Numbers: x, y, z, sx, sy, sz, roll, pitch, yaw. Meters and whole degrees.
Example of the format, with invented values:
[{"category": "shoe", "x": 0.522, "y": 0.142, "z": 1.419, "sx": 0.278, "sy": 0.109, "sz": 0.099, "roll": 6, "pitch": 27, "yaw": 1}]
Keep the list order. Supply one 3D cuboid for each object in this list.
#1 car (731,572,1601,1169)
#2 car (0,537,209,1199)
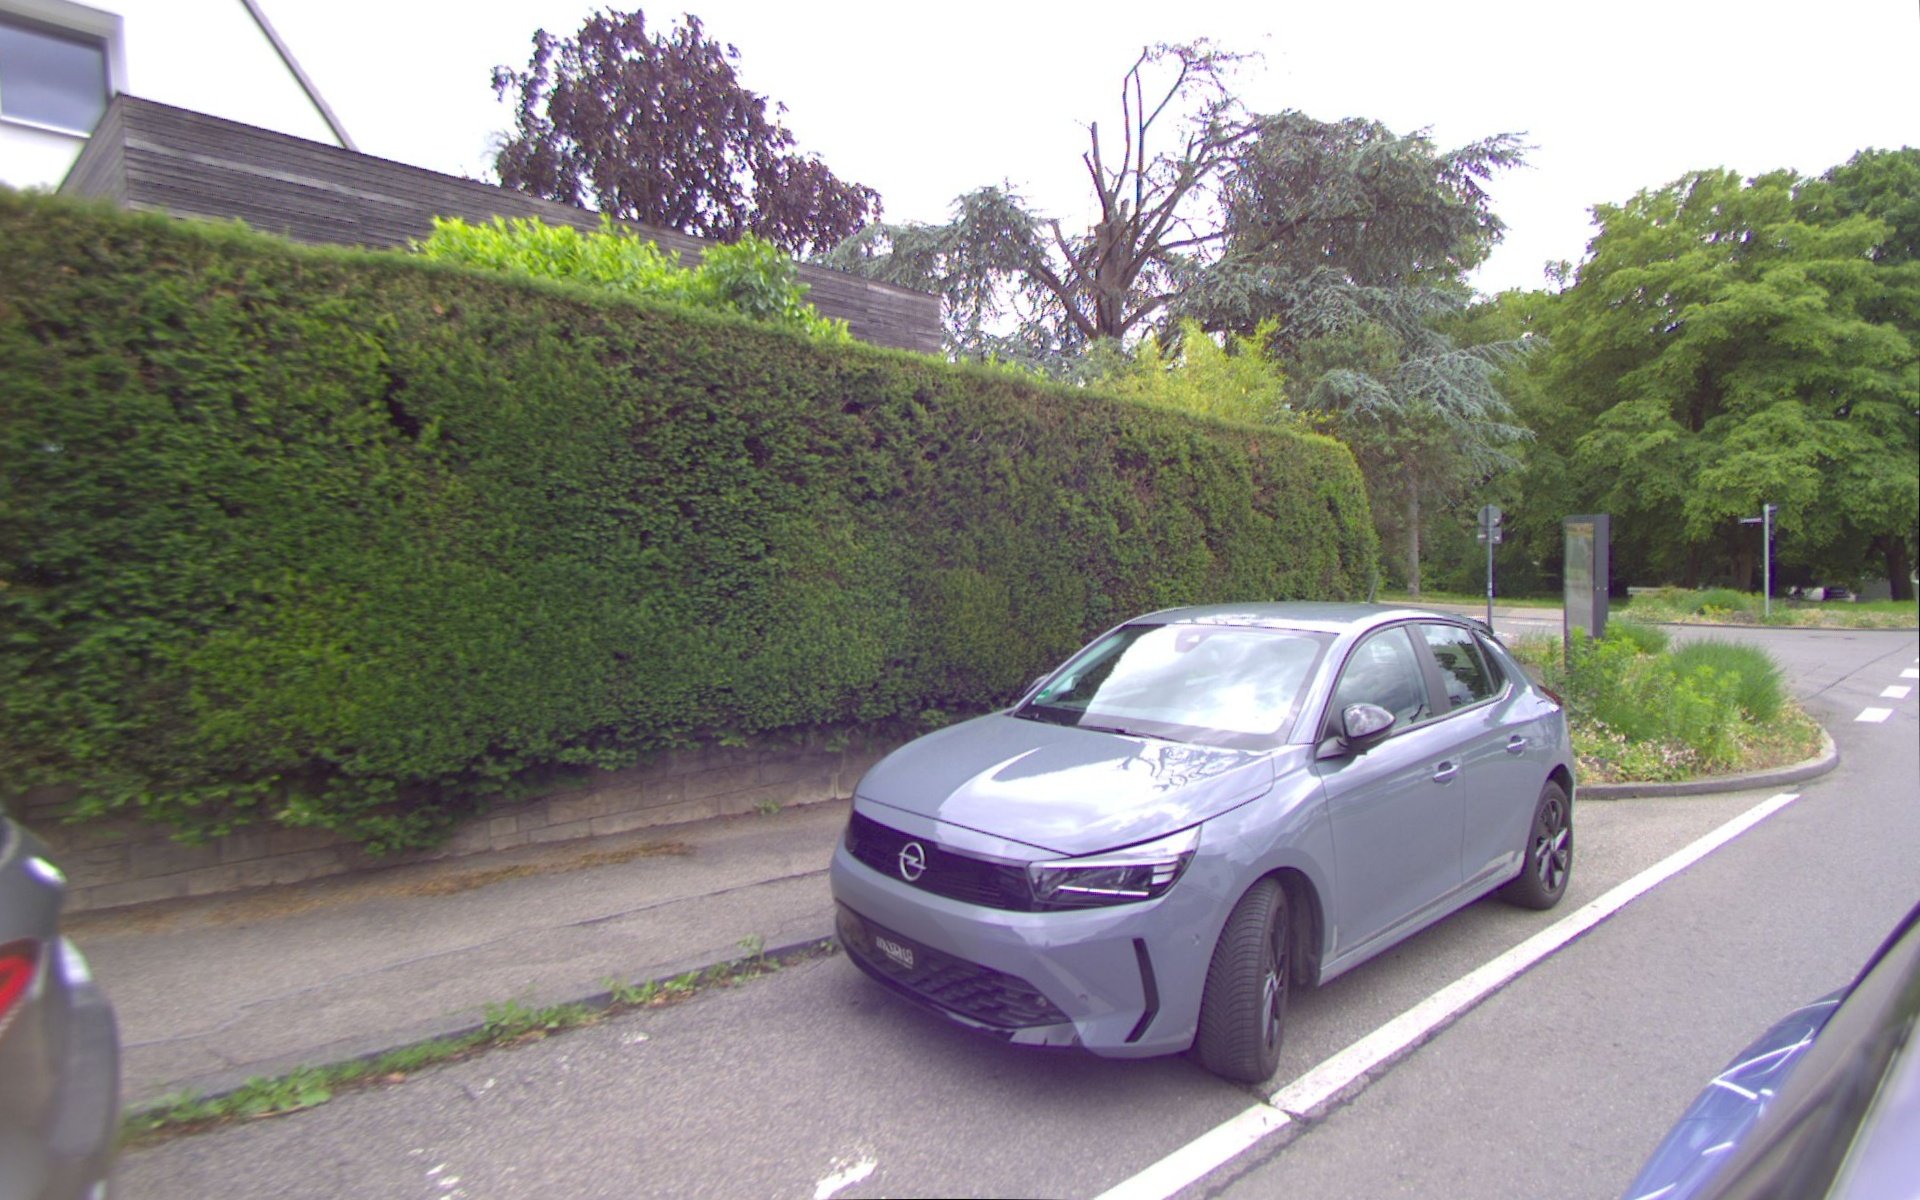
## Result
[{"category": "car", "x": 1.187, "y": 0.640, "z": 4.529, "sx": 3.931, "sy": 1.482, "sz": 1.858, "roll": -1, "pitch": 1, "yaw": -42}, {"category": "car", "x": -3.037, "y": 0.688, "z": 0.549, "sx": 4.100, "sy": 1.482, "sz": 1.858, "roll": -1, "pitch": 1, "yaw": -42}]
